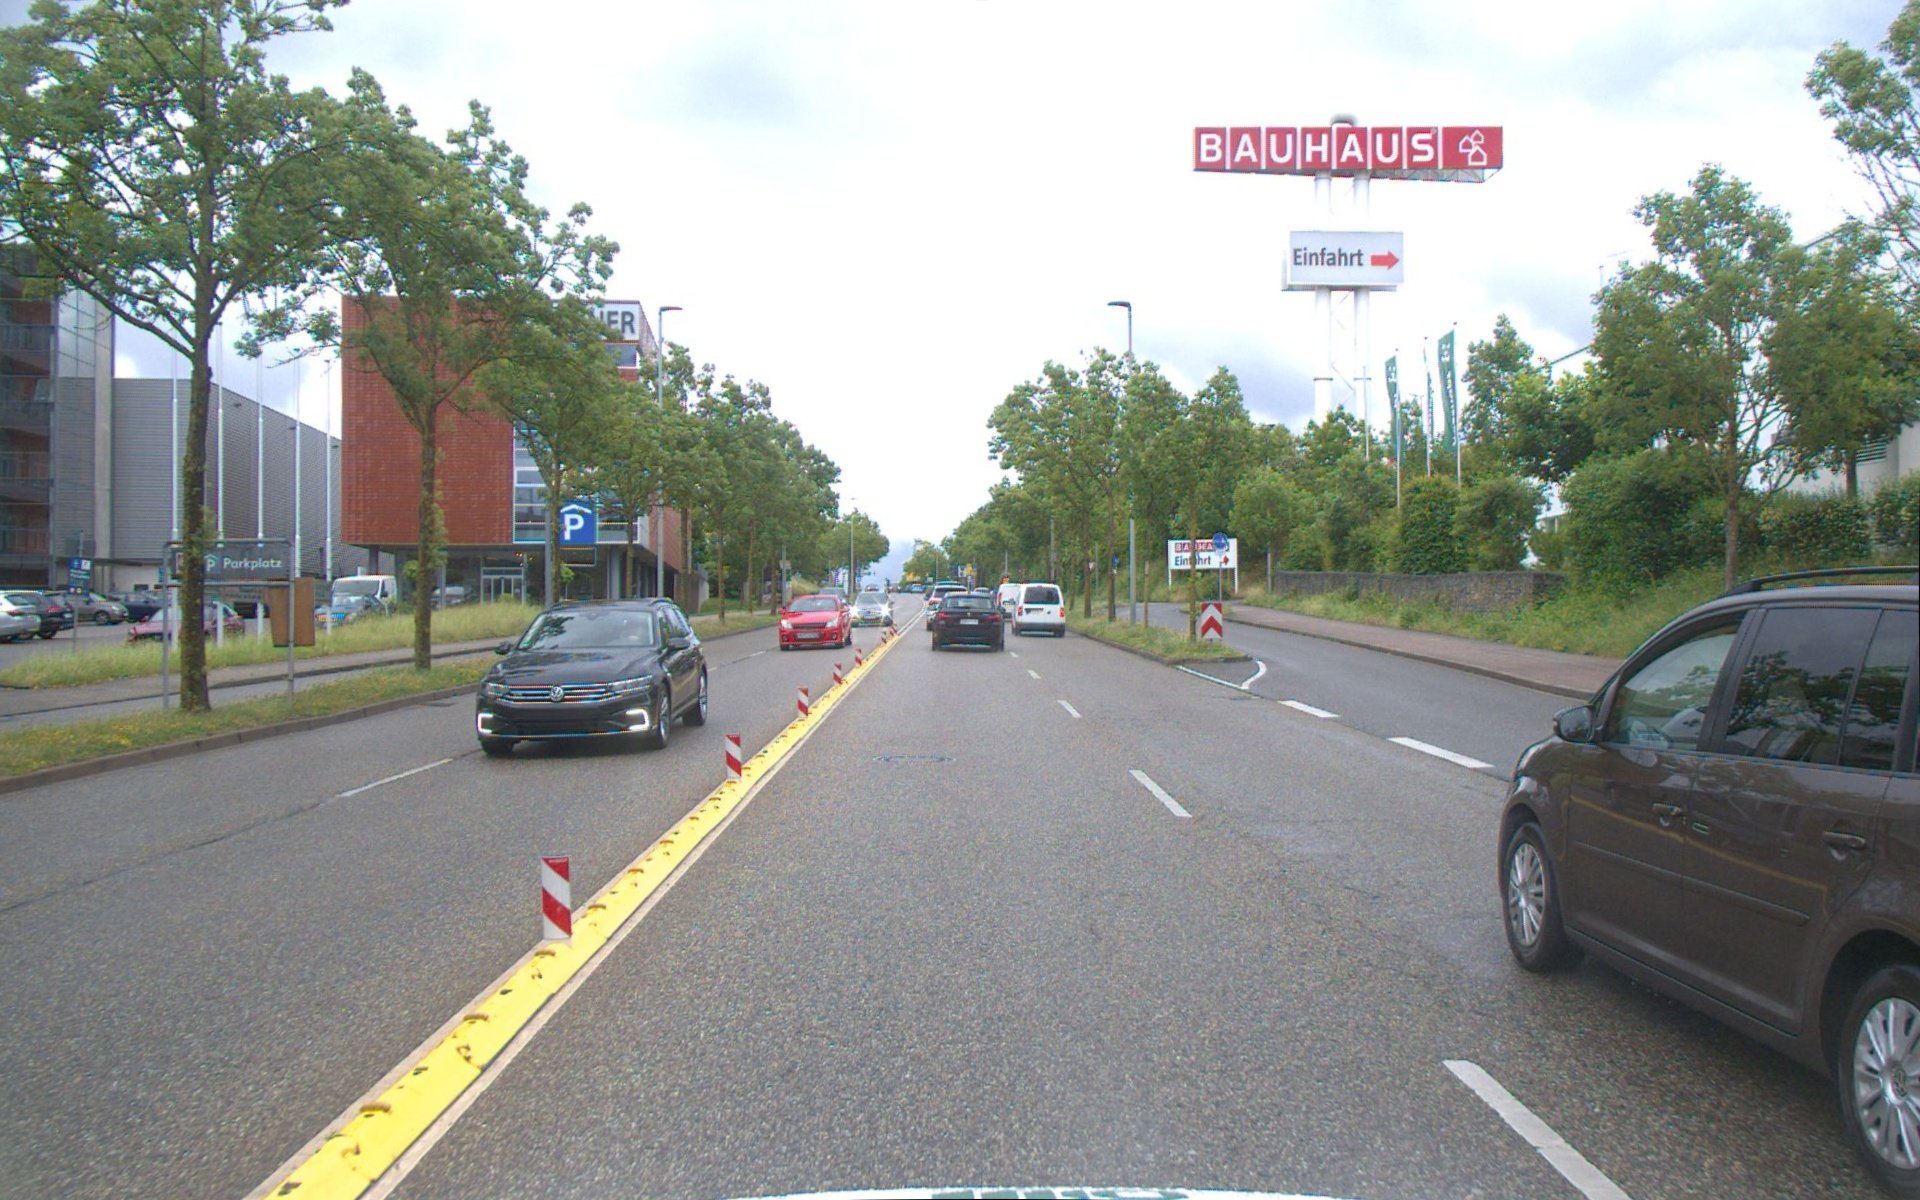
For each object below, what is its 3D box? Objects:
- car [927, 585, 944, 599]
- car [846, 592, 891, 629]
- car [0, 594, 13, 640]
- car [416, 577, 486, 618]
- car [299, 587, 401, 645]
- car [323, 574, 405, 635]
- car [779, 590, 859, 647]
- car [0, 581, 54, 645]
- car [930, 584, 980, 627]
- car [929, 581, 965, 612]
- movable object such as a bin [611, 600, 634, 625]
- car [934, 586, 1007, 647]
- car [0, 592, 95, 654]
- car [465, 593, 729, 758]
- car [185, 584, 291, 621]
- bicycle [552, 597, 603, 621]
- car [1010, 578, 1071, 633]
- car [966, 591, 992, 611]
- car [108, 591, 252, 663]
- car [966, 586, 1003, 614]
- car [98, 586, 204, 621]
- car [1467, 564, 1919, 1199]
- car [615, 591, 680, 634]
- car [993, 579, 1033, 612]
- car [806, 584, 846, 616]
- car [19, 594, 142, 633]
[{"bbox_3d":[-2.743,-0.881,185.064,1.758,1.537,3.998,2,0,-2],"label":"car"},{"bbox_3d":[-3.868,0.447,70.461,1.633,1.435,4.377,-2,0,0],"label":"car"},{"bbox_3d":[-35.041,0.555,56.177,4.525,1.536,2.021,1,2,-9],"label":"car"},{"bbox_3d":[-24.150,-0.147,78.573,2.095,1.804,4.606,1,2,-3],"label":"car"},{"bbox_3d":[-21.320,0.526,58.007,1.999,1.792,4.942,1,2,-4],"label":"car"},{"bbox_3d":[-22.863,0.144,63.640,2.075,2.132,5.111,1,2,-10],"label":"car"},{"bbox_3d":[-3.762,0.460,44.716,1.726,1.450,4.180,-1,0,1],"label":"car"},{"bbox_3d":[-29.116,0.337,48.005,4.514,1.776,1.963,1,2,-9],"label":"car"},{"bbox_3d":[-0.205,0.207,62.435,1.758,1.537,3.999,2,0,-1],"label":"car"},{"bbox_3d":[-0.703,-0.178,85.883,1.758,1.537,3.998,2,0,-2],"label":"car"},{"bbox_3d":[-15.921,0.598,77.938,0.802,1.098,1.086,3,0,0],"label":"movable object such as a bin"},{"bbox_3d":[0.260,0.389,42.460,1.789,1.494,4.000,0,0,0],"label":"car"},{"bbox_3d":[-29.338,0.684,50.861,4.416,1.776,1.897,1,2,-9],"label":"car"},{"bbox_3d":[-3.718,0.698,17.780,1.790,1.491,4.616,-1,0,0],"label":"car"},{"bbox_3d":[-32.809,0.103,75.247,4.033,1.536,1.815,1,2,-9],"label":"car"},{"bbox_3d":[-17.804,0.412,76.985,2.034,0.951,1.094,4,0,3],"label":"bicycle"},{"bbox_3d":[2.762,0.165,57.663,1.790,1.789,3.999,2,0,-2],"label":"car"},{"bbox_3d":[1.549,0.094,134.809,1.759,1.537,3.997,2,0,-4],"label":"car"},{"bbox_3d":[-20.161,0.650,42.986,1.895,1.636,4.706,1,2,-6],"label":"car"},{"bbox_3d":[1.401,-0.008,95.227,1.759,1.537,3.997,2,0,-4],"label":"car"},{"bbox_3d":[-37.345,0.155,76.407,4.033,1.536,1.815,1,2,-9],"label":"car"},{"bbox_3d":[3.216,0.712,5.479,1.651,1.609,4.217,1,0,-2],"label":"car"},{"bbox_3d":[-12.744,0.476,67.727,1.829,1.580,4.574,-2,1,-1],"label":"car"},{"bbox_3d":[2.573,-0.189,81.401,1.758,1.537,3.999,2,0,-1],"label":"car"},{"bbox_3d":[-7.344,-0.022,90.955,1.751,1.642,4.436,-2,0,0],"label":"car"},{"bbox_3d":[-37.271,0.564,70.178,4.197,1.536,1.844,1,2,-9],"label":"car"}]
